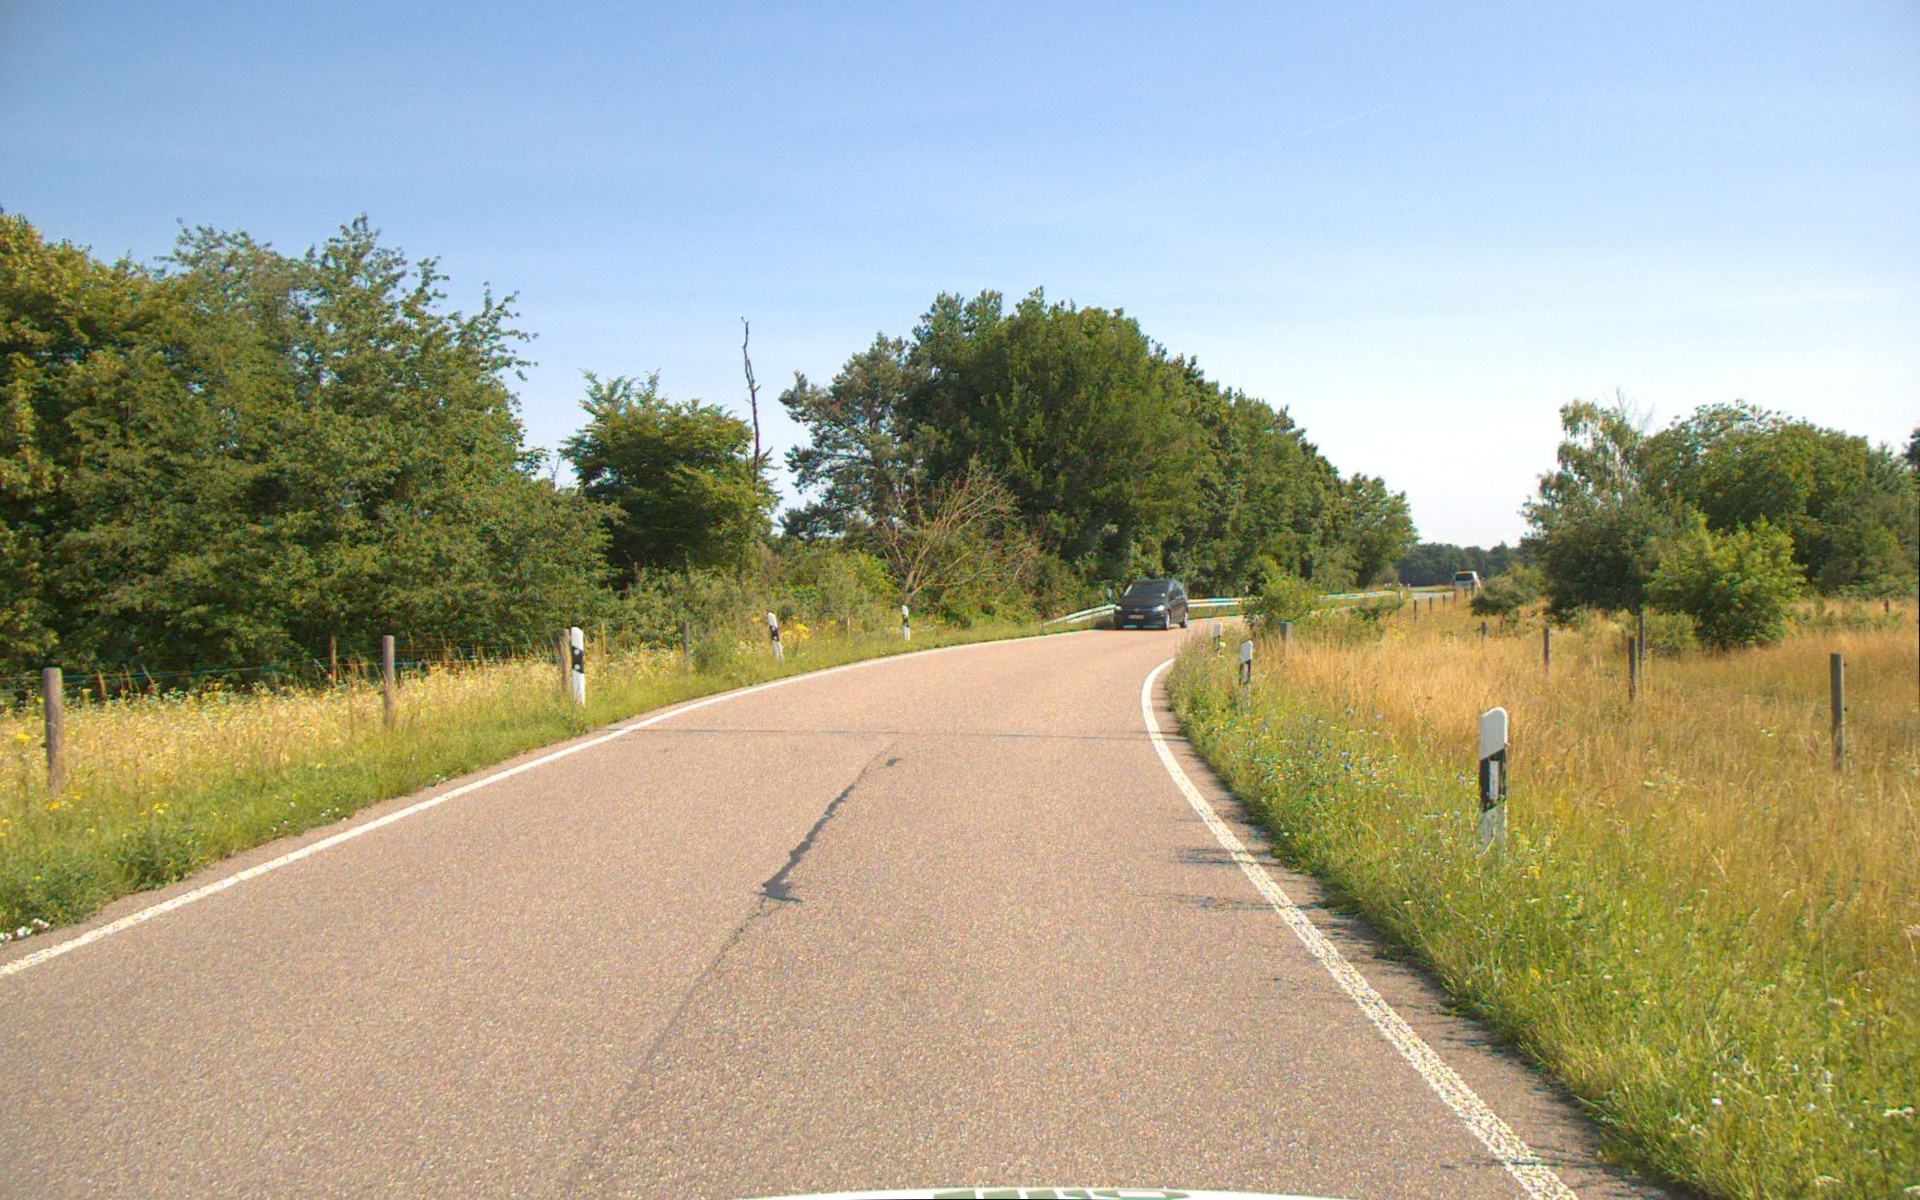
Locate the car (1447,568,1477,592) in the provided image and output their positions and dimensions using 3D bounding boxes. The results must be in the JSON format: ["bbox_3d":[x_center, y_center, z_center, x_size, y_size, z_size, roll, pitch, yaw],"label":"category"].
[{"bbox_3d":[40.408,-1.574,133.011,1.922,1.834,4.160,0,-1,22],"label":"car"}]

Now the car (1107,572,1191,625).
[{"bbox_3d":[6.303,-0.030,54.789,1.747,1.660,4.160,0,-1,21],"label":"car"}]
